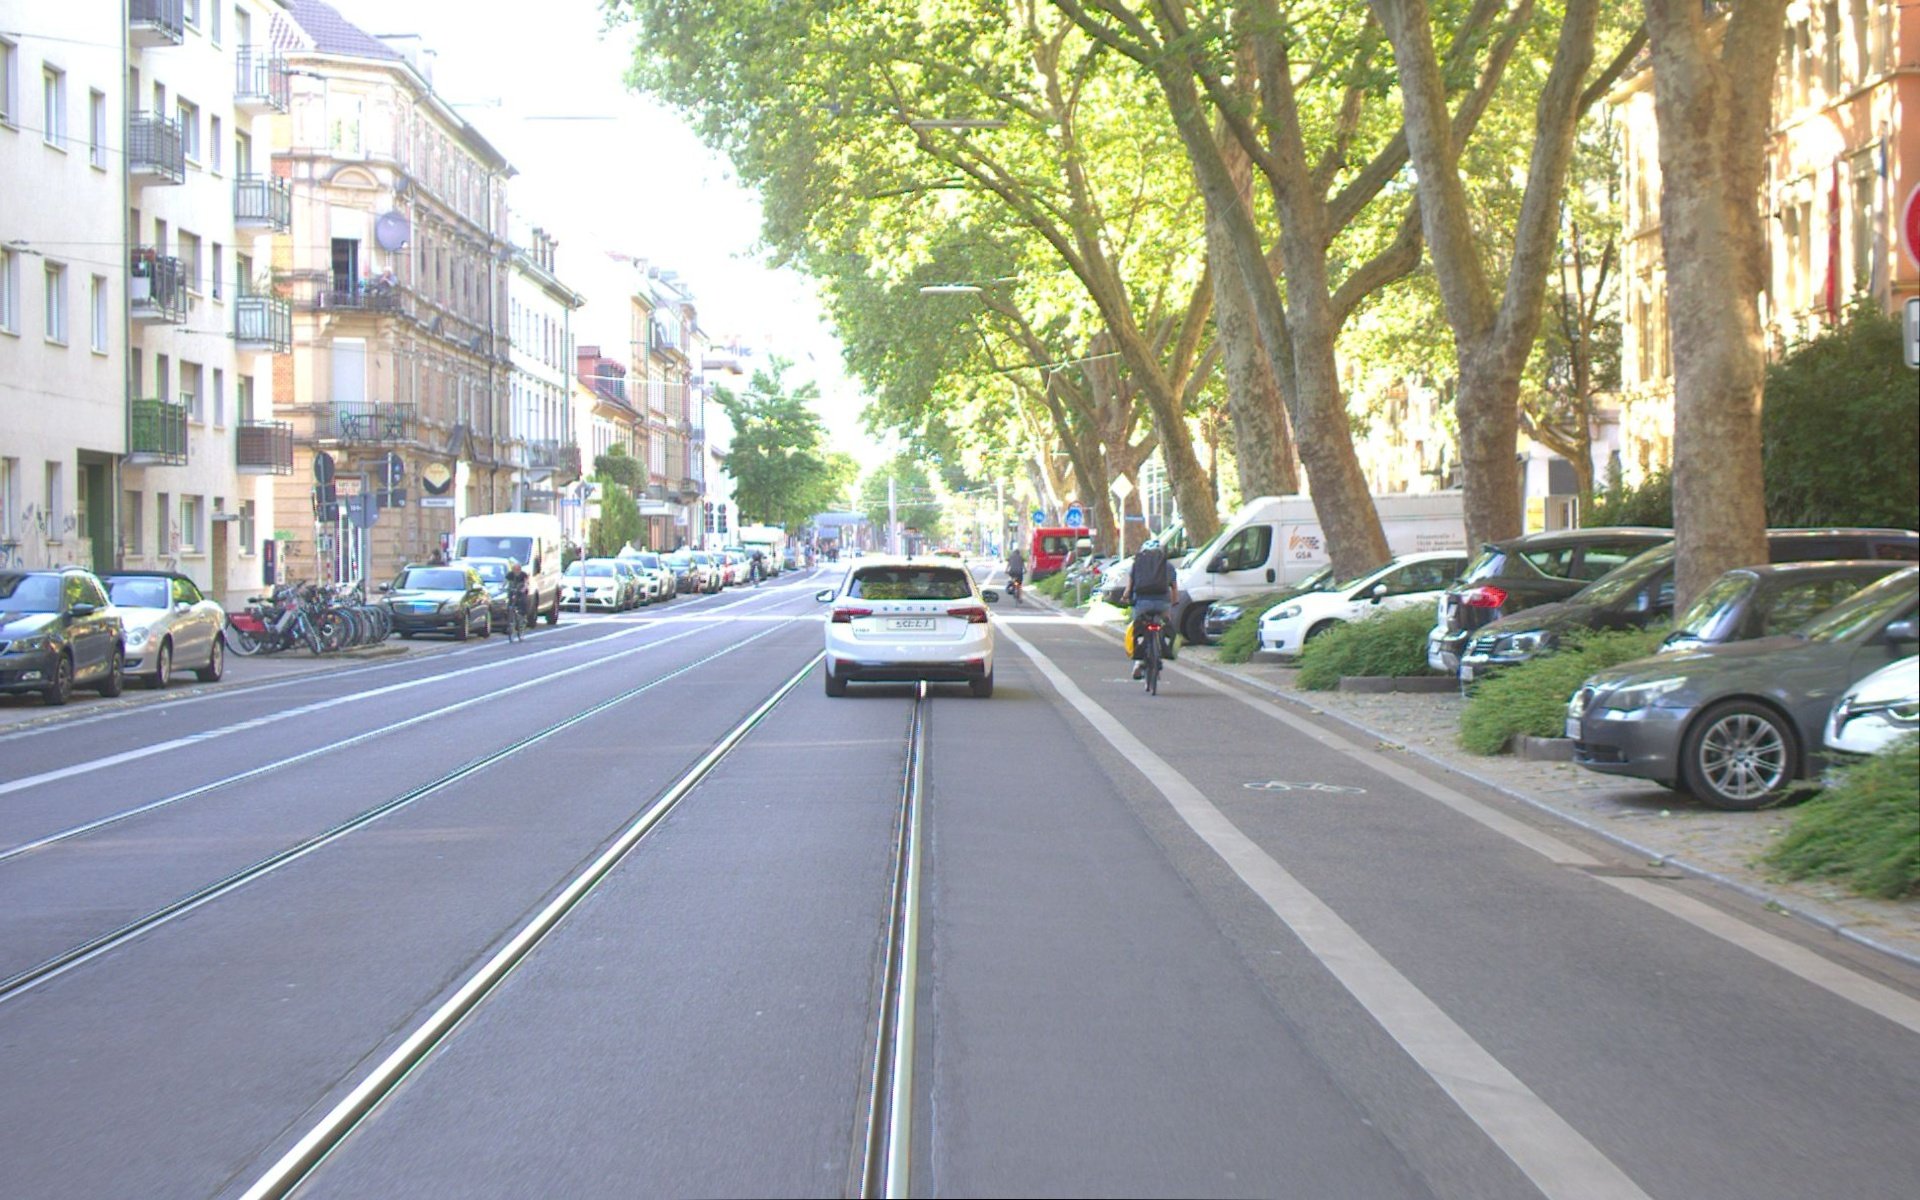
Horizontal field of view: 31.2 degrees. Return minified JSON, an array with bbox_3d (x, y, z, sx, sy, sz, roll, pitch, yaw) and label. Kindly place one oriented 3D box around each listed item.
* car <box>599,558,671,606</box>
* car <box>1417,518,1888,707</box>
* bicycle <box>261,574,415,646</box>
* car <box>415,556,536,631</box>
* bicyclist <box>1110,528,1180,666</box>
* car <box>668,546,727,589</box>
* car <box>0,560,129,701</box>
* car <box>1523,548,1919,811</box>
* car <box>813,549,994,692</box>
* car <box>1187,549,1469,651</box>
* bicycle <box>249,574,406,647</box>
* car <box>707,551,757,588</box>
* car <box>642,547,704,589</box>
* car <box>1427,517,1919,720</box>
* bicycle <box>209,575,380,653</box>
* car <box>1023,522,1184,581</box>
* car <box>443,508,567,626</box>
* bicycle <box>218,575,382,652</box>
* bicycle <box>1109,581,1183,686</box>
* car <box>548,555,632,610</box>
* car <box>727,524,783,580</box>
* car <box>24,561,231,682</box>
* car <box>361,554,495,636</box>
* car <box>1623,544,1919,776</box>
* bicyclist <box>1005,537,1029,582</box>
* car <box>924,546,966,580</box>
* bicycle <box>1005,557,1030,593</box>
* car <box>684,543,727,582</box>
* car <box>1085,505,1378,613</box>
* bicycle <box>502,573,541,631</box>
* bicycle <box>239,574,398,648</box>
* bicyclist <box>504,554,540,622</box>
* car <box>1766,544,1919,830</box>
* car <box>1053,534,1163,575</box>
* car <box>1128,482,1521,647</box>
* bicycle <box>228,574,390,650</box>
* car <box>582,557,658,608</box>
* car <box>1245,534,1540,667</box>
[{"bbox_3d":[-10.612,-0.593,112.621,1.993,1.525,4.000,0,1,0],"label":"car"},{"bbox_3d":[6.368,0.101,31.888,3.986,1.674,1.723,0,1,-1],"label":"car"},{"bbox_3d":[-10.704,0.171,59.236,2.524,1.168,0.719,2,-1,-6],"label":"bicycle"},{"bbox_3d":[-10.171,-0.152,72.387,1.993,1.525,4.000,0,1,0],"label":"car"},{"bbox_3d":[1.964,-0.040,36.615,0.678,1.438,1.047,-1,1,0],"label":"bicyclist"},{"bbox_3d":[-10.258,-1.262,134.655,1.993,1.634,4.000,1,0,0],"label":"car"},{"bbox_3d":[-10.270,0.294,37.381,1.653,1.432,3.837,0,1,-2],"label":"car"},{"bbox_3d":[5.685,0.442,20.975,4.142,1.509,1.931,0,1,-1],"label":"car"},{"bbox_3d":[-0.564,0.174,35.836,1.761,1.379,4.000,-1,1,0],"label":"car"},{"bbox_3d":[5.740,-0.014,53.922,4.048,1.535,2.000,0,1,-6],"label":"car"},{"bbox_3d":[-10.700,0.178,58.182,2.524,1.168,0.719,2,-1,-5],"label":"bicycle"},{"bbox_3d":[-10.268,-1.383,155.133,1.993,1.634,4.000,1,0,0],"label":"car"},{"bbox_3d":[-10.667,-1.199,127.964,1.993,1.525,4.000,0,1,0],"label":"car"},{"bbox_3d":[6.279,0.137,29.582,4.234,1.661,1.848,0,1,-1],"label":"car"},{"bbox_3d":[-10.567,0.231,54.674,2.525,1.168,0.883,2,-1,-40],"label":"bicycle"},{"bbox_3d":[5.631,-1.899,135.589,6.130,2.274,2.529,0,1,-2],"label":"car"},{"bbox_3d":[-10.329,-0.765,78.324,2.178,2.588,4.949,0,1,0],"label":"car"},{"bbox_3d":[-10.631,0.219,55.458,2.524,1.168,0.719,2,-1,-6],"label":"bicycle"},{"bbox_3d":[1.966,0.339,36.564,0.681,1.067,1.781,-1,1,0],"label":"bicycle"},{"bbox_3d":[-10.590,-0.511,98.658,1.993,1.525,4.000,0,1,0],"label":"car"},{"bbox_3d":[-11.972,-2.789,201.208,2.968,3.145,5.847,1,0,0],"label":"car"},{"bbox_3d":[-10.214,0.231,42.420,1.485,1.398,3.990,0,1,2],"label":"car"},{"bbox_3d":[-10.275,-0.113,66.605,1.993,1.525,4.000,0,1,0],"label":"car"},{"bbox_3d":[6.691,0.370,23.417,3.986,1.509,1.761,0,1,-1],"label":"car"},{"bbox_3d":[1.716,-1.237,104.013,0.649,1.339,0.934,-1,1,-2],"label":"bicyclist"},{"bbox_3d":[-0.652,-1.633,150.218,1.761,1.470,4.000,-1,1,0],"label":"car"},{"bbox_3d":[1.727,-0.751,104.009,0.649,1.067,1.583,-1,1,-2],"label":"bicycle"},{"bbox_3d":[-13.291,-1.962,179.759,1.993,2.007,4.000,0,1,0],"label":"car"},{"bbox_3d":[5.899,-0.901,75.367,6.130,2.274,2.529,0,1,-2],"label":"car"},{"bbox_3d":[-8.314,0.035,65.265,0.605,1.067,1.583,-1,1,-3],"label":"bicycle"},{"bbox_3d":[-10.688,0.190,57.332,2.524,1.168,0.719,2,-1,-5],"label":"bicycle"},{"bbox_3d":[-8.317,-0.231,65.305,0.597,1.282,0.917,-1,1,-3],"label":"bicyclist"},{"bbox_3d":[6.641,0.421,18.723,4.036,1.474,1.923,0,1,0],"label":"car"},{"bbox_3d":[5.622,-1.732,130.898,4.049,1.535,2.000,0,1,-1],"label":"car"},{"bbox_3d":[5.950,-0.589,56.749,6.130,2.626,2.529,0,1,-2],"label":"car"},{"bbox_3d":[-10.654,0.207,56.344,2.524,1.168,0.719,2,-1,-5],"label":"bicycle"},{"bbox_3d":[-10.650,-0.565,107.812,1.993,1.525,4.000,0,1,0],"label":"car"},{"bbox_3d":[5.558,-0.005,44.500,3.634,1.661,1.822,0,1,2],"label":"car"}]
